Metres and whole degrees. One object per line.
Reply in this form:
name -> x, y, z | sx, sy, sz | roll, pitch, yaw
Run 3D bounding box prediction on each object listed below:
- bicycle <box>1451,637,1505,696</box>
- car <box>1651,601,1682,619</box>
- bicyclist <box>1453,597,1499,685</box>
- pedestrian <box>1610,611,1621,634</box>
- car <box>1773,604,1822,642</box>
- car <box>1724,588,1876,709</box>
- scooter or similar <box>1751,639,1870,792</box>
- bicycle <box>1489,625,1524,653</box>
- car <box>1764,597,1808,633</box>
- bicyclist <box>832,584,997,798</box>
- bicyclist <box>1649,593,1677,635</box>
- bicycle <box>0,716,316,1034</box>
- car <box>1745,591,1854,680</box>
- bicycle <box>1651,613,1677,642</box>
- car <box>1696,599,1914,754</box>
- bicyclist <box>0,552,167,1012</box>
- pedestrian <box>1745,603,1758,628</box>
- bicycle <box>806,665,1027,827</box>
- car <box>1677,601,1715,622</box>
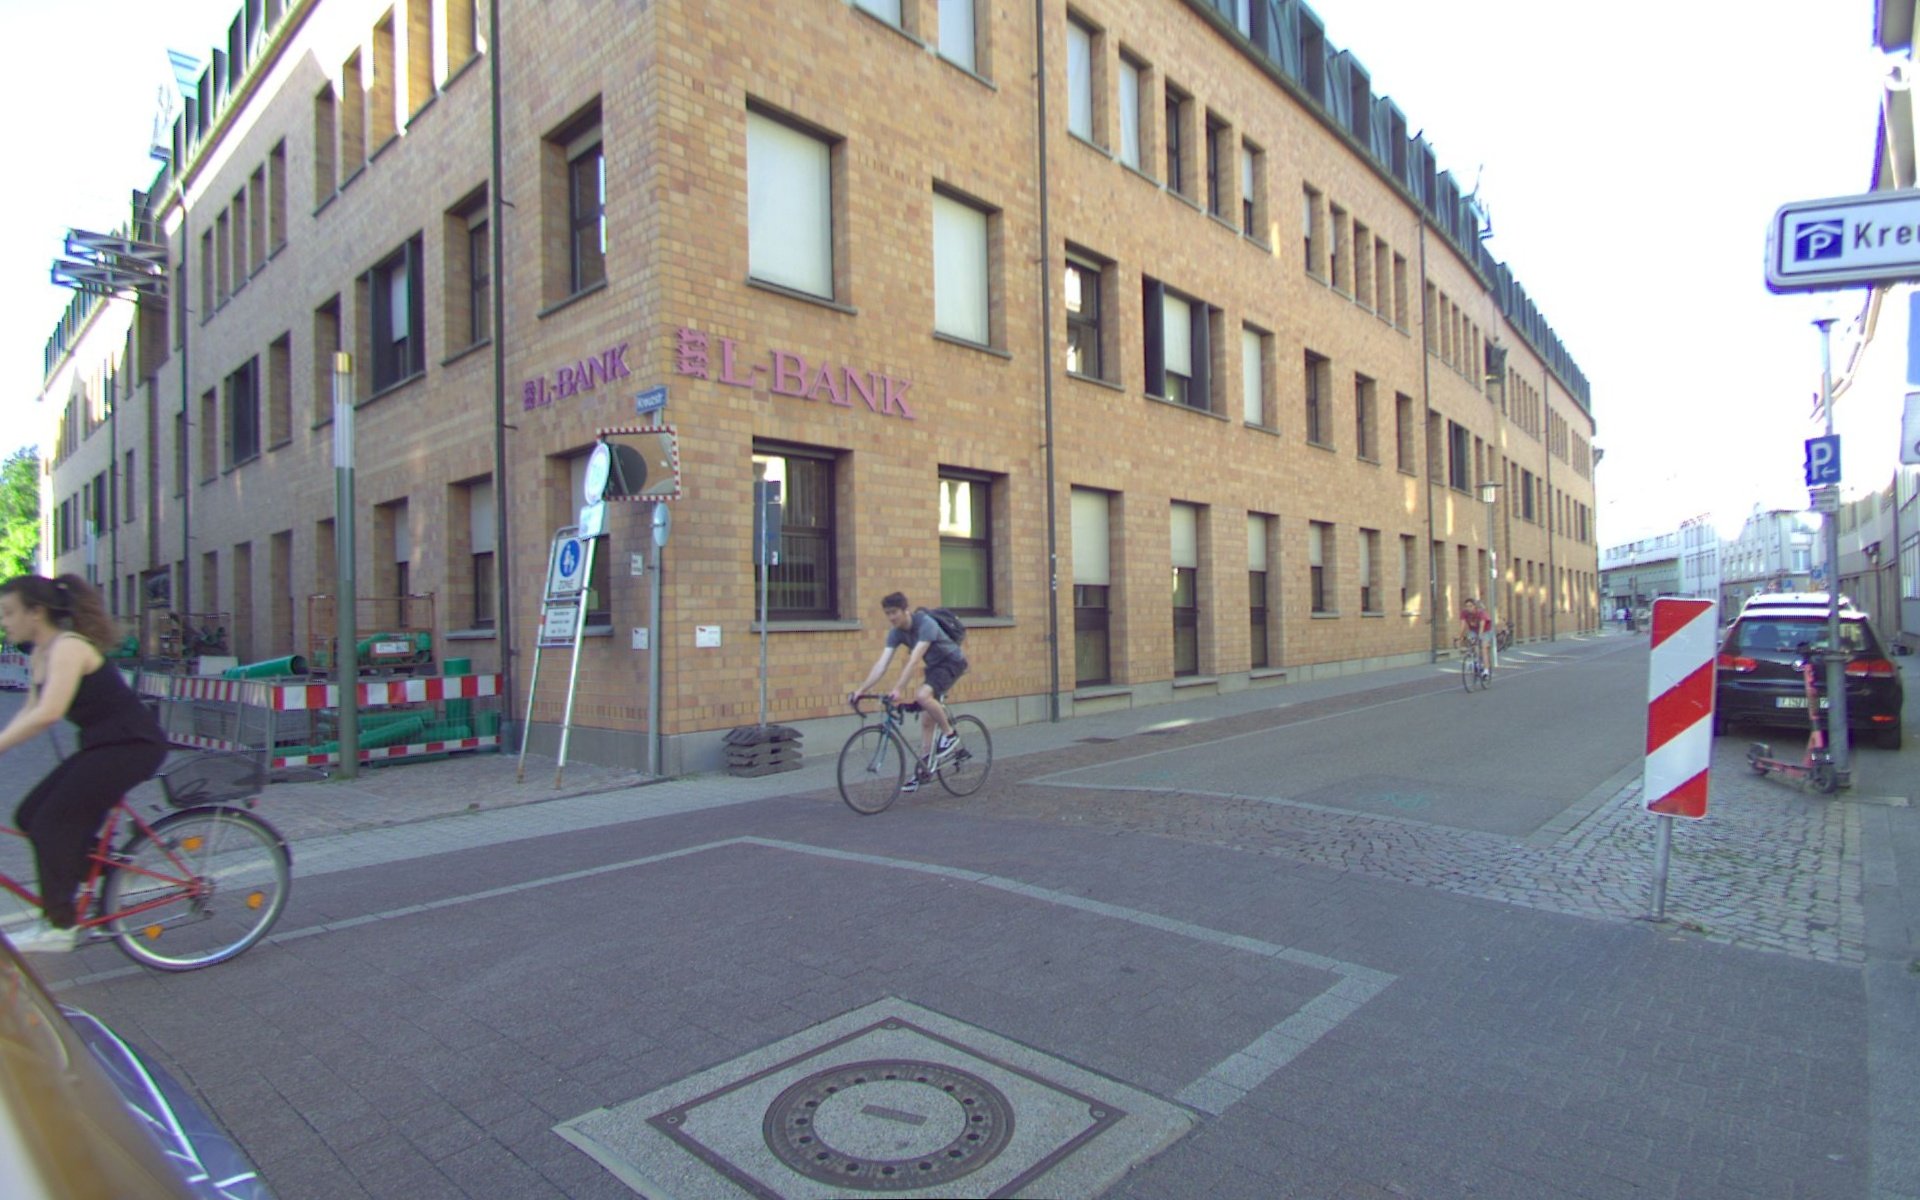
bicycle -> 9.192, 1.151, 17.932 | 0.436, 0.964, 1.569 | -3, -2, 42
car -> 68.123, 0.939, 97.574 | 1.926, 1.663, 3.801 | -1, -1, 27
bicyclist -> 9.141, 0.722, 17.922 | 0.428, 1.509, 0.863 | -5, -4, 43
pedestrian -> 44.055, 1.496, 68.048 | 0.543, 1.556, 0.399 | -1, -1, 40
car -> 39.031, 1.031, 47.228 | 1.692, 1.692, 3.461 | 0, 0, 39
car -> 13.363, 0.684, 16.089 | 1.673, 1.674, 4.025 | 0, 0, 41
scooter or similar -> 7.065, 0.929, 8.442 | 0.205, 1.193, 0.882 | -1, -2, 1
bicycle -> 18.849, 1.335, 34.907 | 0.642, 0.888, 2.524 | -1, -1, 38
car -> 42.196, 0.739, 51.745 | 1.692, 1.789, 3.608 | 0, 0, 39
bicyclist -> -0.353, 0.695, 8.065 | 0.650, 1.570, 1.094 | -7, -5, 43
bicyclist -> 29.368, 0.587, 42.276 | 0.772, 1.668, 0.945 | -6, -4, 38
bicycle -> -3.649, 1.068, 3.986 | 0.591, 1.060, 1.776 | -5, -4, 41
car -> 17.972, 0.693, 21.644 | 1.673, 1.717, 3.958 | 0, 0, 41
bicycle -> 29.350, 1.132, 42.182 | 0.704, 1.112, 1.804 | -7, -5, 37
car -> 9.957, 0.749, 11.958 | 1.740, 1.497, 3.759 | 0, 1, 41
bicyclist -> -3.705, 0.681, 3.989 | 0.620, 1.679, 0.812 | -6, -4, 42
pedestrian -> 49.282, 0.971, 63.015 | 0.570, 1.490, 0.468 | -2, -2, 34
bicycle -> -0.299, 1.105, 8.049 | 0.574, 1.059, 1.810 | -8, -5, 43
car -> 60.563, 0.972, 83.309 | 1.926, 1.663, 3.801 | -2, -1, 27
